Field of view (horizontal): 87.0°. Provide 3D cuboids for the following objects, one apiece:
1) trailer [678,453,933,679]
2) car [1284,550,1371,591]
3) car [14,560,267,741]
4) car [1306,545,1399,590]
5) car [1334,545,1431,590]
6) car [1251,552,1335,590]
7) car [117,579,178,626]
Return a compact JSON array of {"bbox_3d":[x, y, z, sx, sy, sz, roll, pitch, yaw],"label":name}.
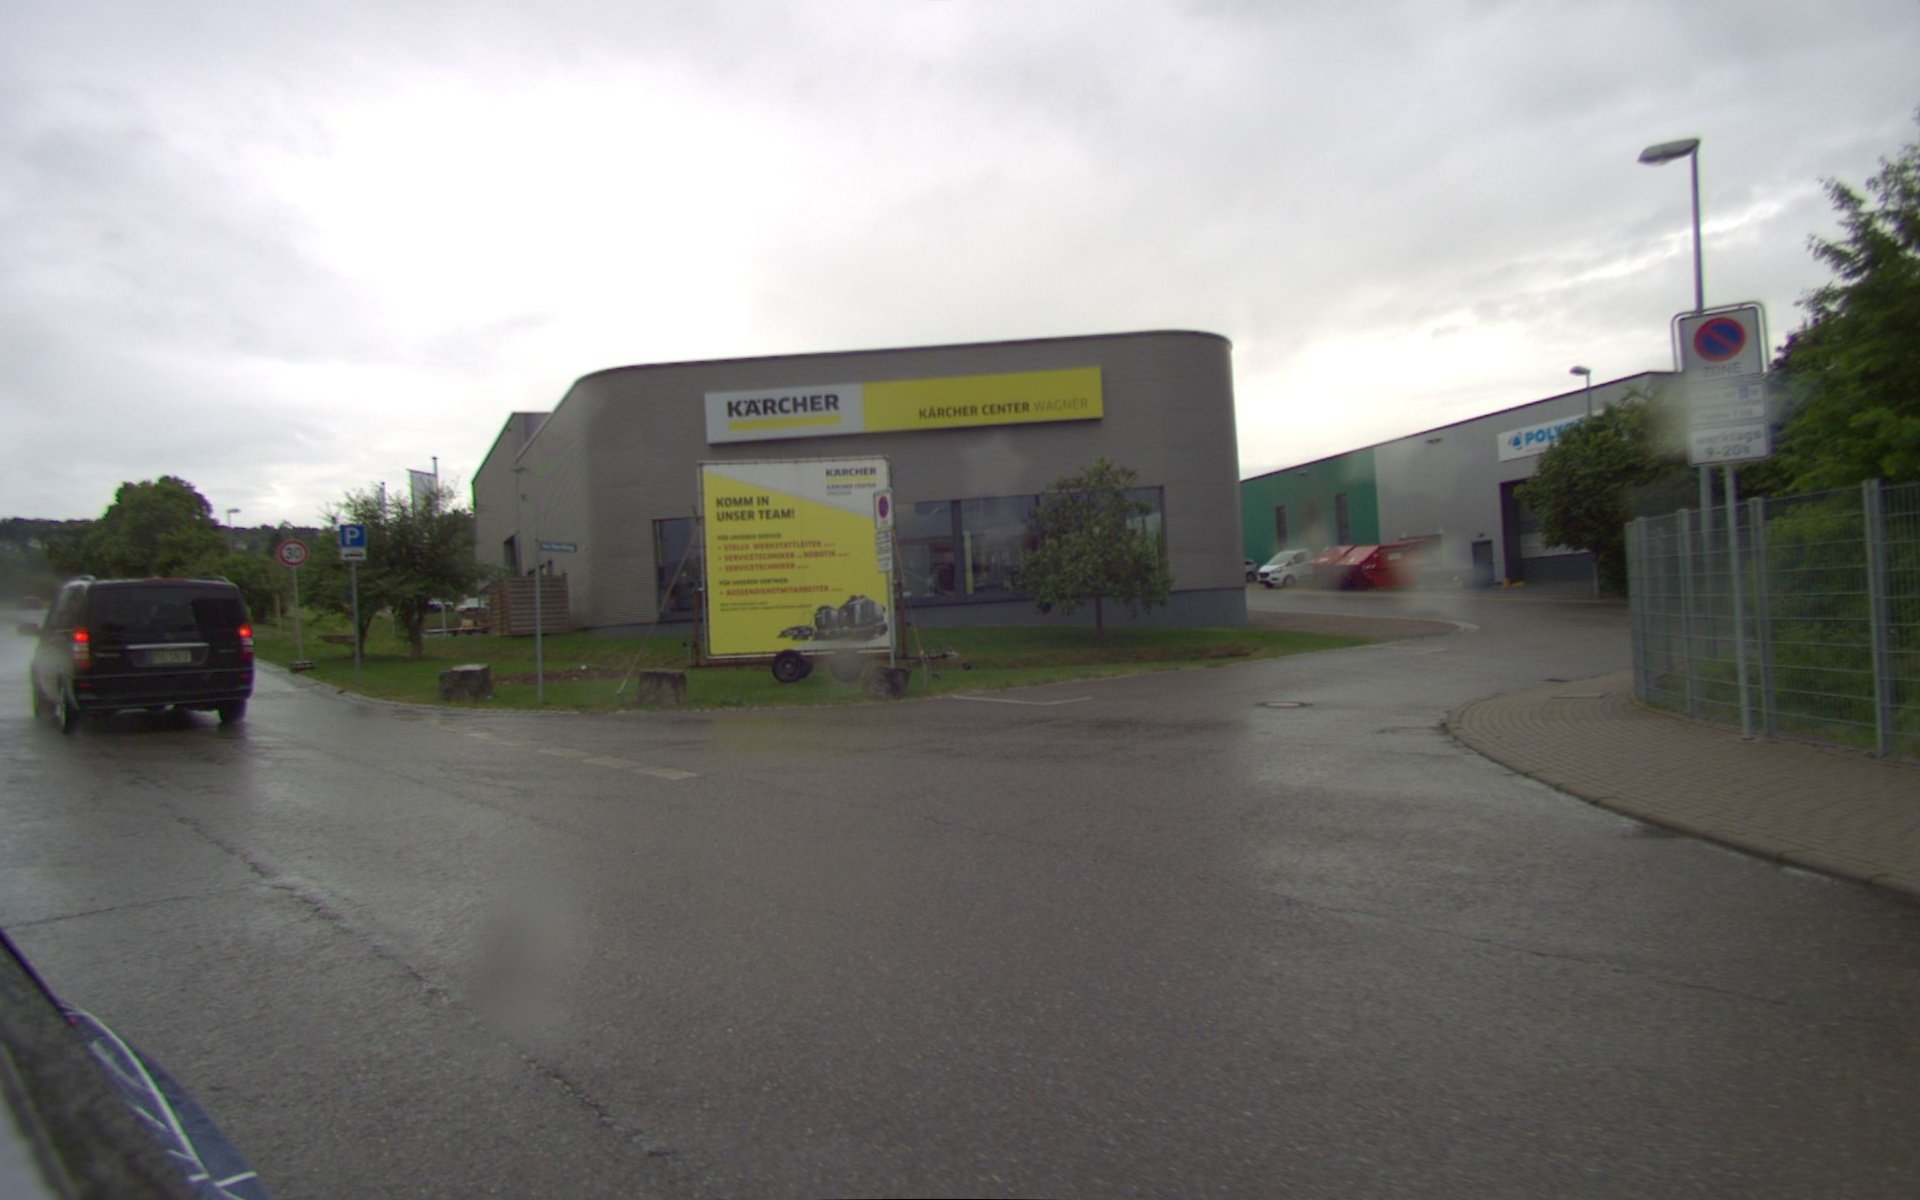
[{"bbox_3d":[-2.927,-0.646,19.899,4.629,4.120,2.391,-1,0,-4],"label":"trailer"},{"bbox_3d":[19.584,-1.564,53.973,3.931,2.071,2.006,-1,0,-18],"label":"car"},{"bbox_3d":[-11.176,0.576,13.683,4.512,2.029,2.040,-1,0,43],"label":"car"},{"bbox_3d":[19.964,-1.638,51.520,3.932,2.199,2.006,-1,0,-16],"label":"car"},{"bbox_3d":[20.637,-1.570,49.523,3.932,2.095,2.006,-1,0,-15],"label":"car"},{"bbox_3d":[18.416,-1.603,56.024,3.931,2.029,2.006,-1,0,-18],"label":"car"},{"bbox_3d":[-36.655,0.108,45.729,1.967,2.029,4.009,-1,0,-36],"label":"car"}]
